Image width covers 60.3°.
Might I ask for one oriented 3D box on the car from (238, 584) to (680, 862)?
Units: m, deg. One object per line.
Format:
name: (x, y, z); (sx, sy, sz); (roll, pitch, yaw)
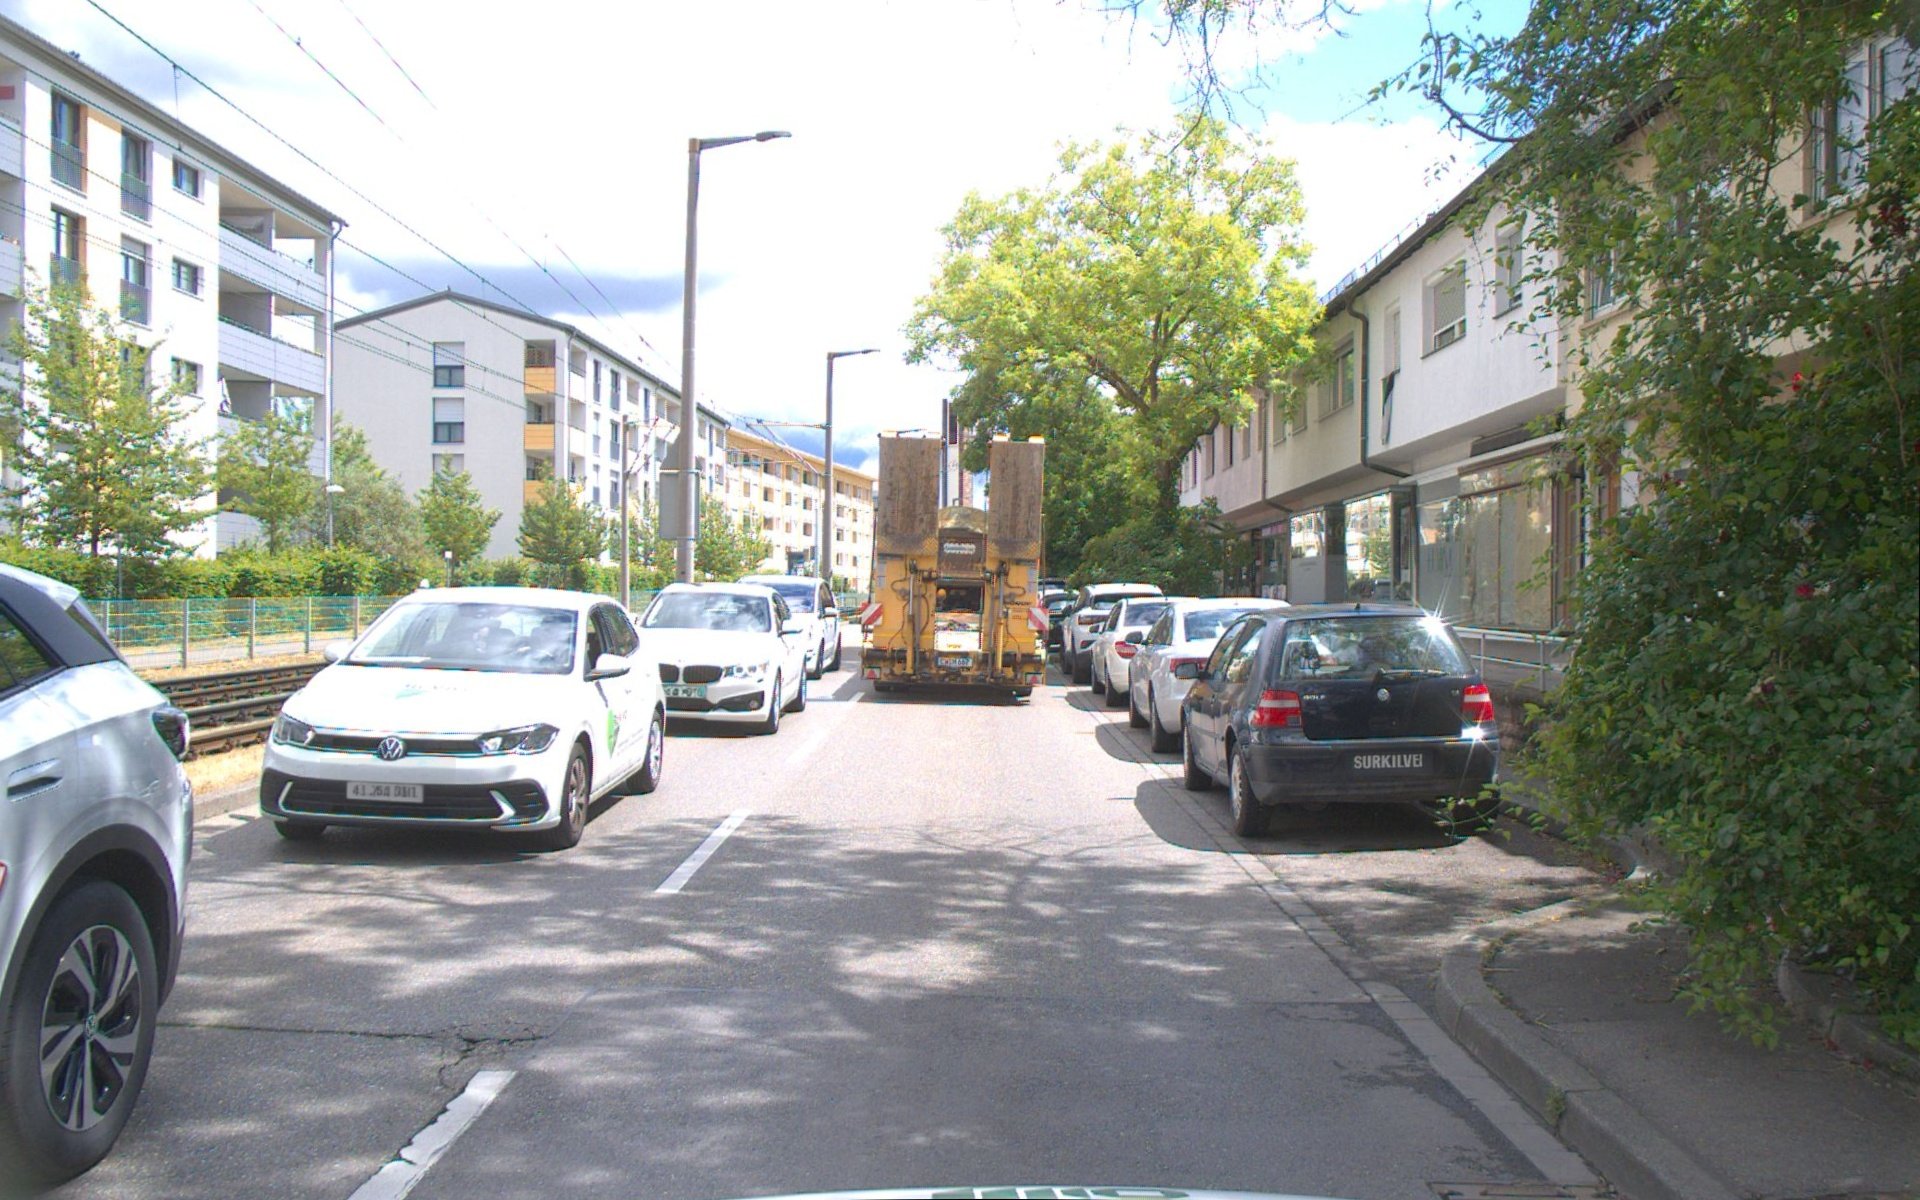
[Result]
car: (-2.949, 0.629, 10.614); (1.711, 1.431, 3.939); (1, 0, -2)

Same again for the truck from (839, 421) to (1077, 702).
truck: (-0.027, -0.556, 27.921); (3.060, 3.626, 12.459); (1, 0, 0)

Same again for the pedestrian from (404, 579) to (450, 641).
pedestrian: (-13.259, 0.237, 41.171); (0.780, 1.509, 0.995); (1, 0, 0)

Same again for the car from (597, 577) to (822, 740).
car: (-2.650, 0.552, 18.585); (1.780, 1.529, 4.836); (2, 0, -1)

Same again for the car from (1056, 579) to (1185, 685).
car: (2.714, 0.500, 28.870); (1.800, 1.672, 4.429); (1, 0, 0)

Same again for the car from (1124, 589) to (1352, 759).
car: (2.781, 0.658, 17.580); (1.776, 1.525, 4.912); (1, 0, 2)

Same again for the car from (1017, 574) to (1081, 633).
car: (2.826, 0.109, 53.616); (1.973, 1.820, 5.077); (0, 0, 2)

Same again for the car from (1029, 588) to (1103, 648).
car: (2.696, 0.419, 41.710); (1.734, 1.373, 4.002); (-2, 0, 4)

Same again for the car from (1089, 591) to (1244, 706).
car: (2.833, 0.607, 23.519); (1.689, 1.451, 4.446); (1, 0, 1)

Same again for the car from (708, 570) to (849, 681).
car: (-2.941, 0.372, 27.747); (1.780, 1.642, 4.602); (2, 0, 0)

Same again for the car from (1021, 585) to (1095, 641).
car: (2.739, 0.336, 47.004); (1.735, 1.467, 3.898); (-2, 0, -1)

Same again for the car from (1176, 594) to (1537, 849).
car: (2.640, 0.718, 11.957); (1.776, 1.489, 4.042); (1, 0, 2)

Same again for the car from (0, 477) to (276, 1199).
car: (-2.896, 0.597, 2.670); (1.820, 1.720, 4.432); (1, 0, -2)
